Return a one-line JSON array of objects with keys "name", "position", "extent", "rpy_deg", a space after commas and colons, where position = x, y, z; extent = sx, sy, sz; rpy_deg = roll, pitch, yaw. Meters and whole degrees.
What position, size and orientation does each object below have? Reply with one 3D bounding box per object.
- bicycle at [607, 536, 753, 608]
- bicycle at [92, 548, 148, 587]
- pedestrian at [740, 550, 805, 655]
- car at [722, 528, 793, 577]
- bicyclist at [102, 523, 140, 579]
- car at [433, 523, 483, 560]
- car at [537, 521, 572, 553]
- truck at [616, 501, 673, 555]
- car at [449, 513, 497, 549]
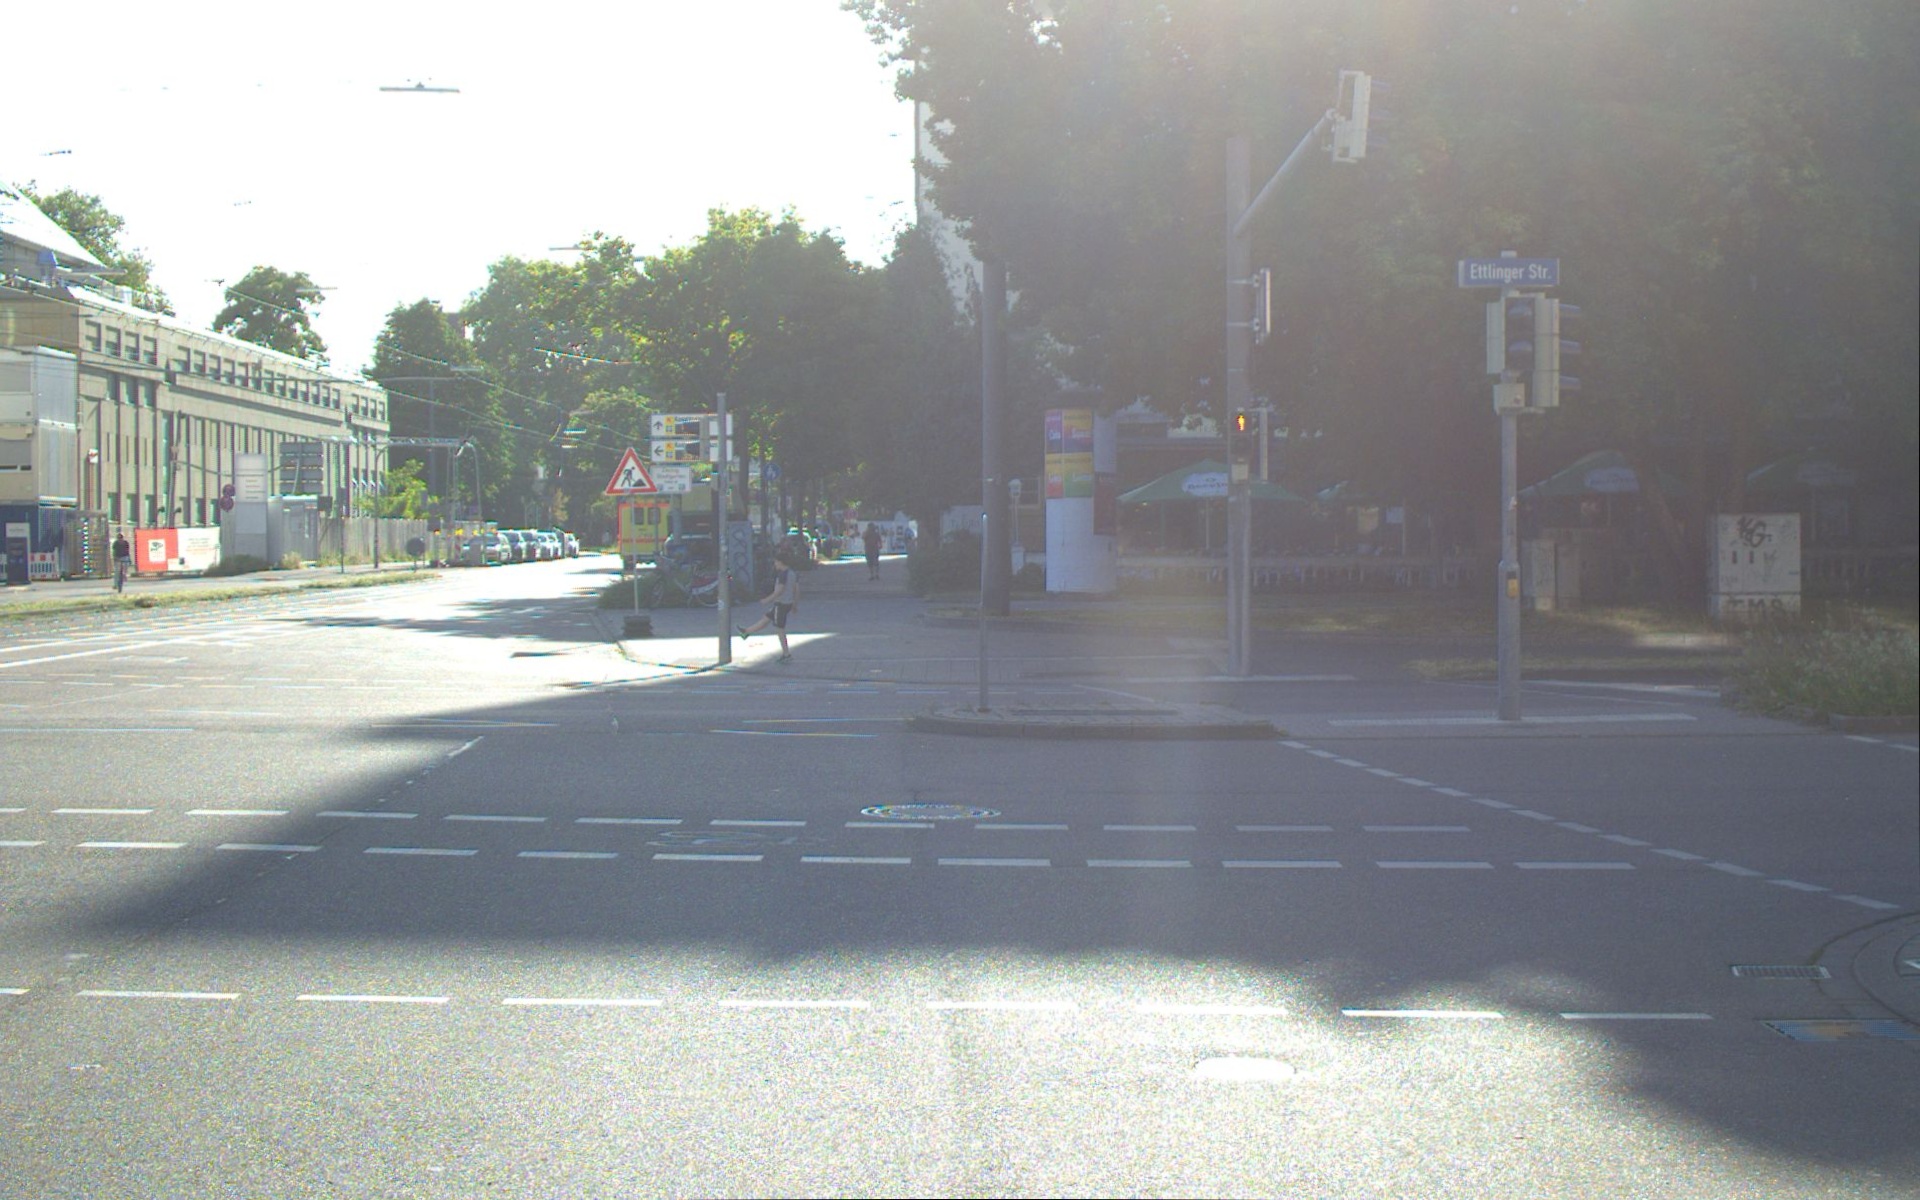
[{"name": "bicycle", "position": [-5.468, -0.550, 67.146], "extent": [2.748, 1.363, 0.630], "rpy_deg": [1, 0, 11]}, {"name": "bicycle", "position": [-24.509, -0.953, 100.351], "extent": [0.875, 1.117, 3.013], "rpy_deg": [0, 1, 1]}, {"name": "pedestrian", "position": [-2.405, 0.022, 44.203], "extent": [0.752, 1.328, 0.742], "rpy_deg": [0, 1, 3]}, {"name": "car", "position": [-5.386, -1.281, 91.862], "extent": [1.819, 1.274, 4.001], "rpy_deg": [0, 1, -3]}, {"name": "bicyclist", "position": [-24.495, -1.438, 100.402], "extent": [0.875, 1.636, 0.822], "rpy_deg": [0, 1, 1]}, {"name": "car", "position": [-22.756, -2.641, 156.006], "extent": [1.731, 1.647, 4.000], "rpy_deg": [0, 1, -1]}, {"name": "car", "position": [-22.825, -3.554, 193.566], "extent": [1.483, 1.744, 4.000], "rpy_deg": [-1, 1, -1]}, {"name": "truck", "position": [-12.428, -2.851, 135.787], "extent": [1.915, 2.085, 4.000], "rpy_deg": [-1, 1, -1]}, {"name": "car", "position": [-22.659, -3.222, 160.102], "extent": [1.731, 1.647, 4.000], "rpy_deg": [0, 1, -1]}]
